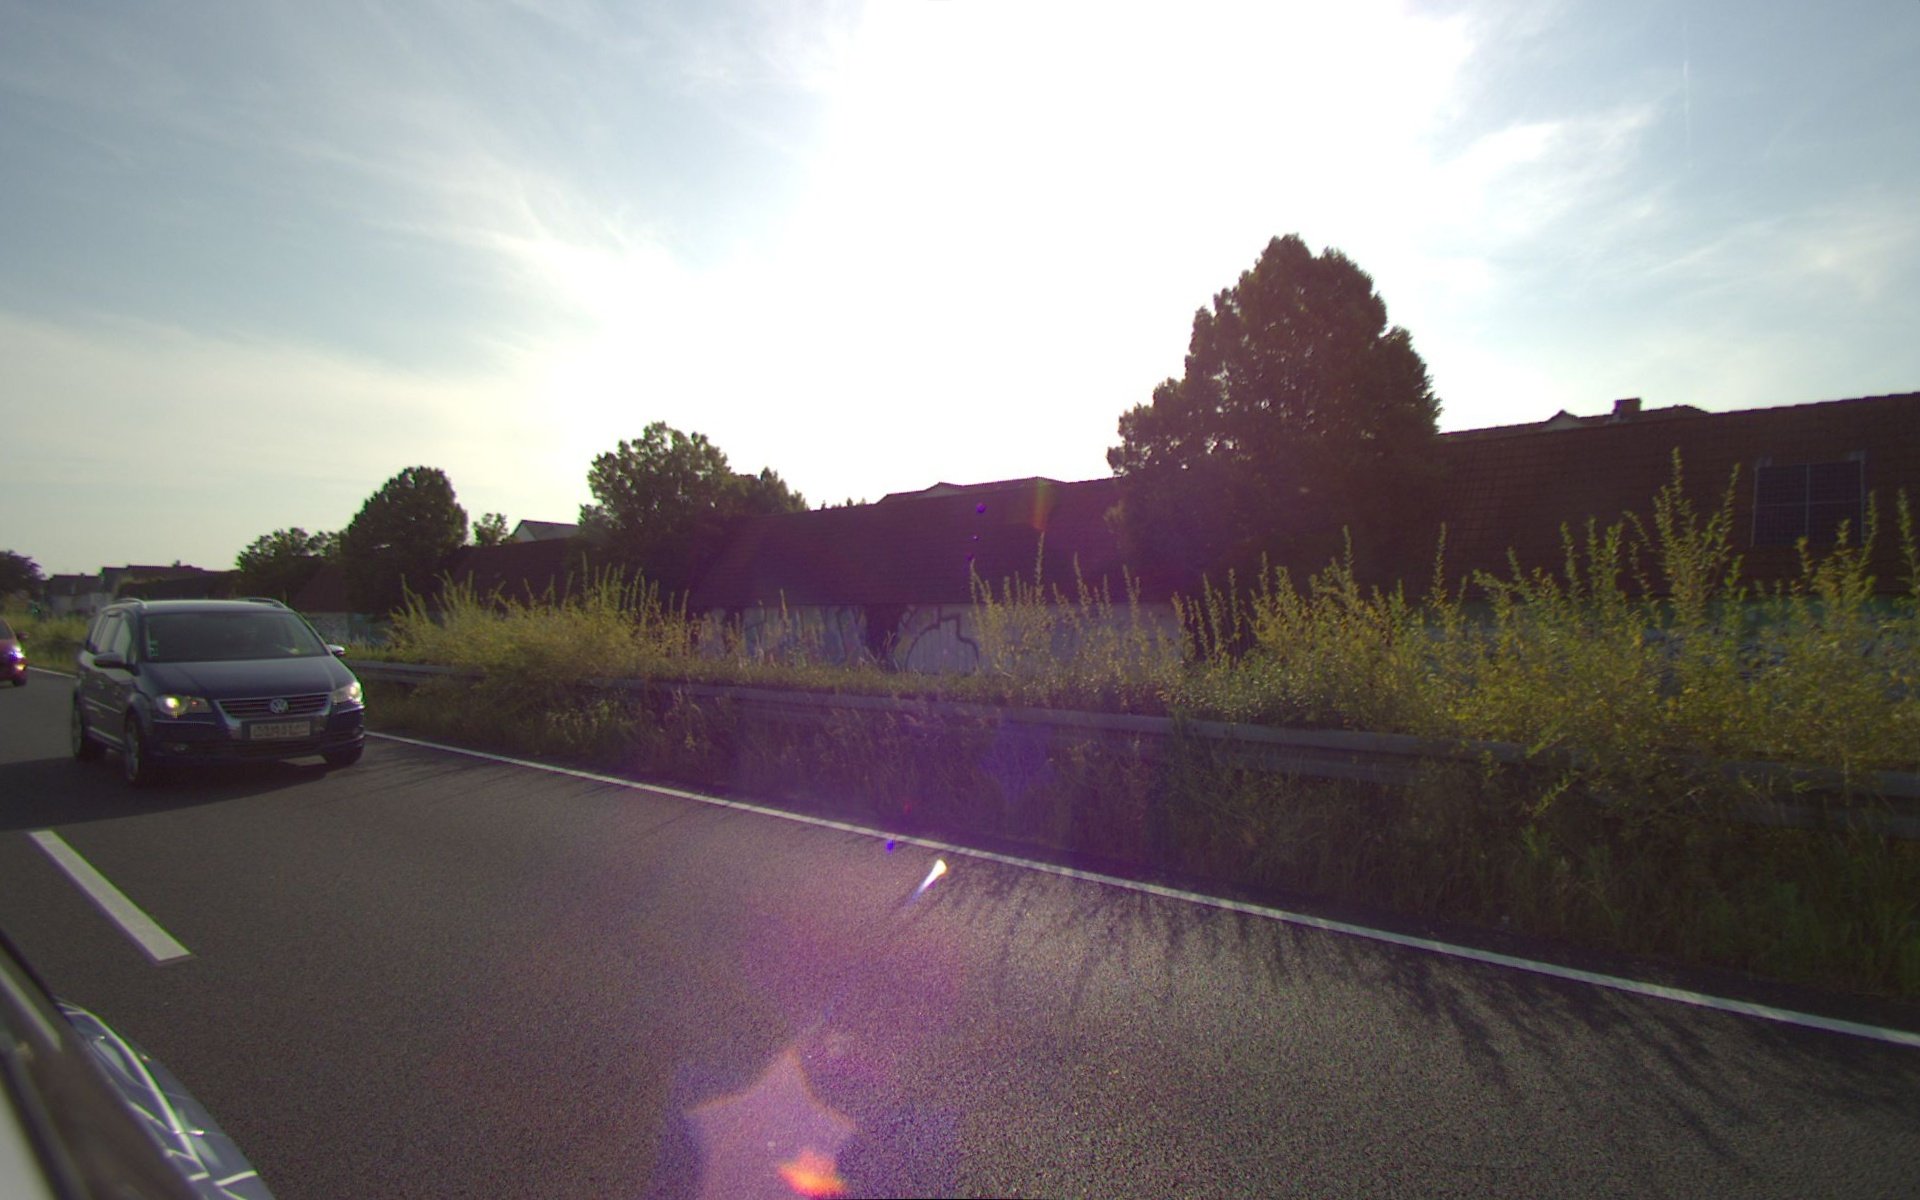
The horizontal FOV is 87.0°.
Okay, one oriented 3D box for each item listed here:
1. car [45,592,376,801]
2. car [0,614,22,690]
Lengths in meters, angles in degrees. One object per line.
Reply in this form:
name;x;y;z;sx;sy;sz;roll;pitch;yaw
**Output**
car;-7.664;0.763;10.153;4.680;1.633;1.754;0;0;42
car;-21.997;1.123;22.171;3.998;1.557;1.725;0;0;41
